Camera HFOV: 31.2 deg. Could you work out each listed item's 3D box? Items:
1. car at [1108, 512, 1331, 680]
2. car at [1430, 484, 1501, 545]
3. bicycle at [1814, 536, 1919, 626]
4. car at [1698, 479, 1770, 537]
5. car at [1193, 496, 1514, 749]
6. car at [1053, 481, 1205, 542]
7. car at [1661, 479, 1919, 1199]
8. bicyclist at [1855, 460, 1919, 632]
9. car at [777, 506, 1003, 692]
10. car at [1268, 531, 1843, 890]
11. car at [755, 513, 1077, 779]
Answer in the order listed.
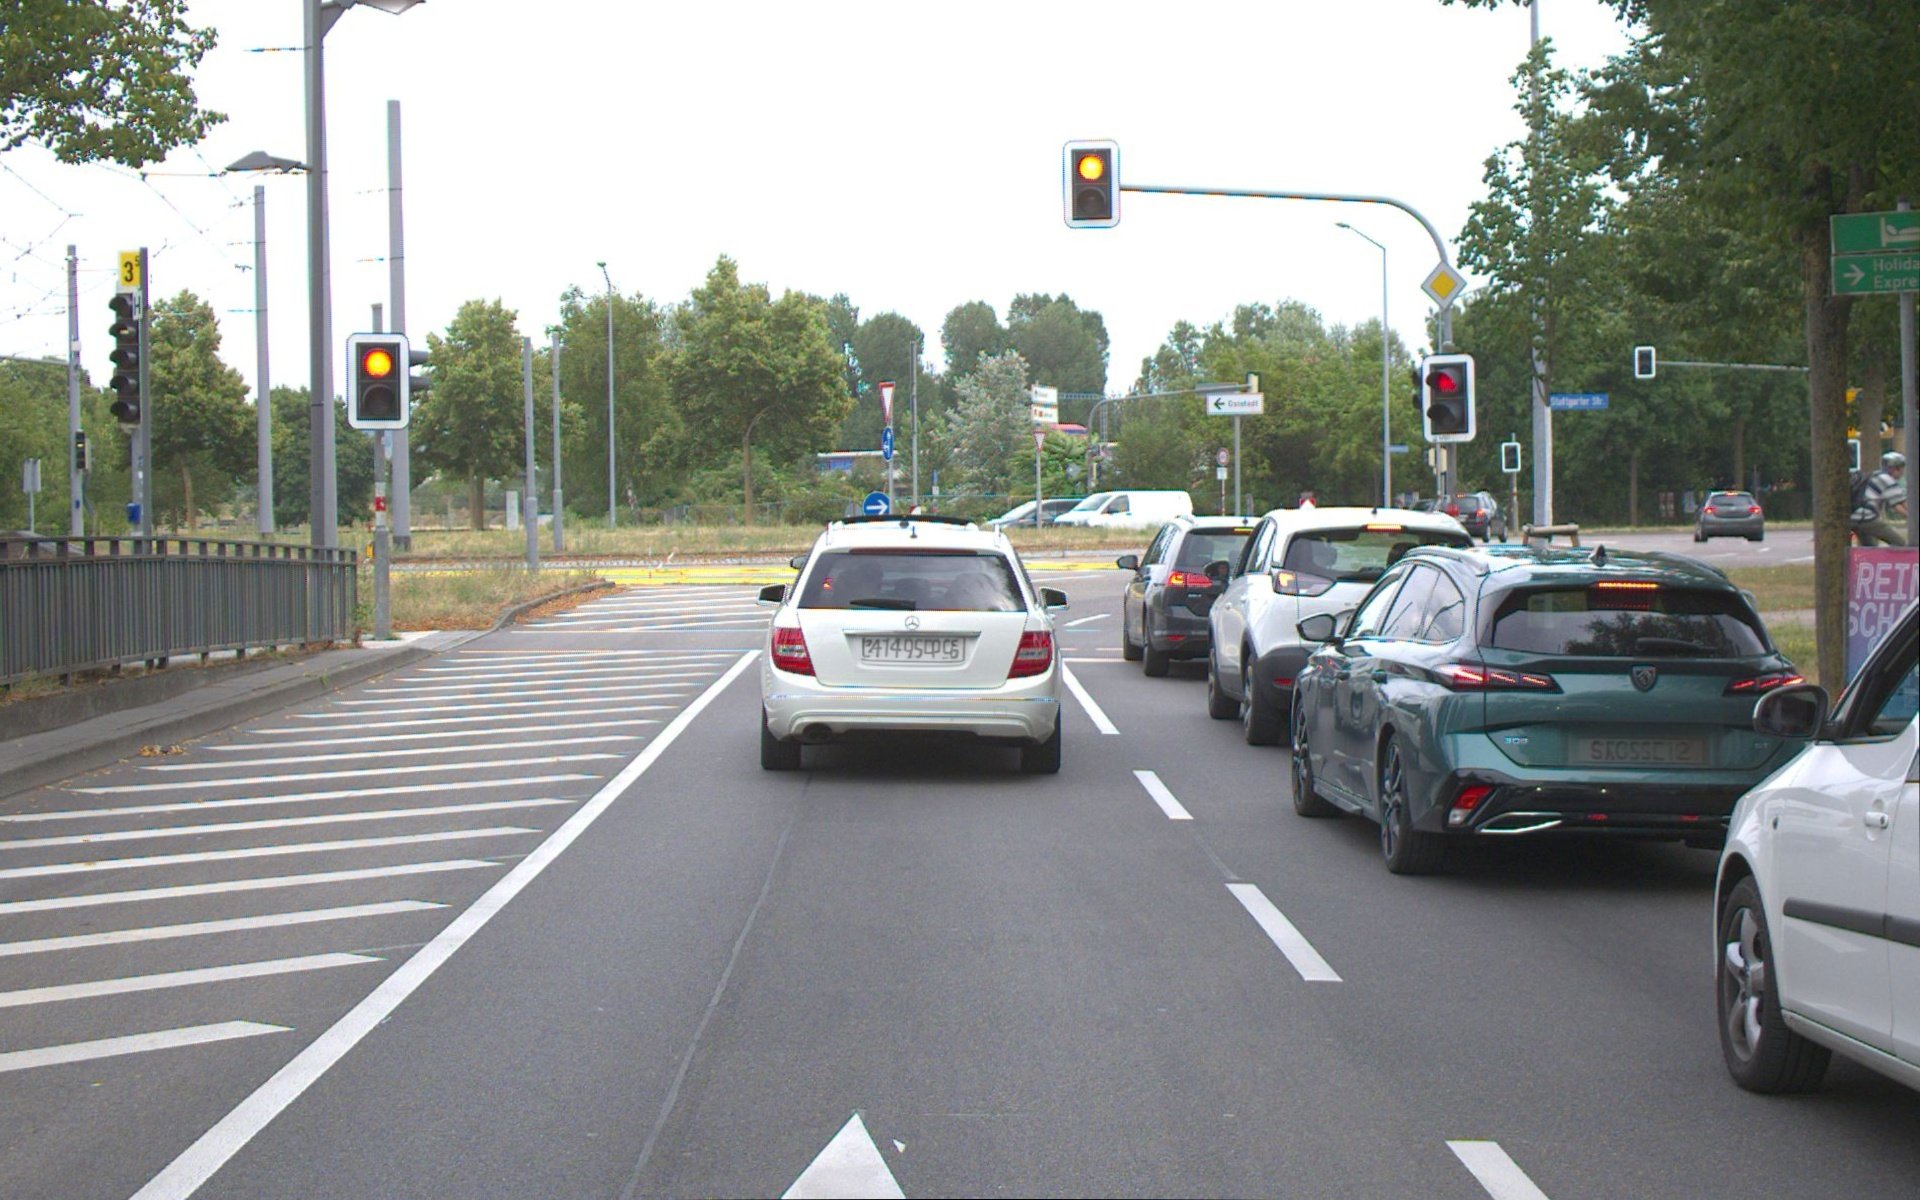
[{"bbox_3d":[2.363,-0.084,32.144,1.624,1.443,3.911,1,2,-2],"label":"car"},{"bbox_3d":[15.470,-2.606,105.417,1.994,1.784,3.999,2,1,7],"label":"car"},{"bbox_3d":[10.531,-0.214,38.233,1.933,0.980,0.565,0,2,-1],"label":"bicycle"},{"bbox_3d":[22.485,-2.681,100.001,1.784,1.630,4.400,0,2,9],"label":"car"},{"bbox_3d":[2.678,0.091,24.186,1.787,1.619,3.911,-1,2,0],"label":"car"},{"bbox_3d":[5.796,-3.045,117.777,4.984,2.006,2.000,-2,2,-33],"label":"car"},{"bbox_3d":[2.918,0.544,7.876,1.779,1.651,4.024,-1,2,0],"label":"car"},{"bbox_3d":[10.388,-0.606,38.125,0.728,1.879,0.734,0,2,-1],"label":"bicyclist"},{"bbox_3d":[-0.629,-0.060,29.246,1.773,1.443,3.911,1,2,-2],"label":"car"},{"bbox_3d":[2.629,0.408,16.199,1.787,1.427,4.311,0,2,-2],"label":"car"},{"bbox_3d":[-0.320,0.210,21.087,1.773,1.443,3.911,1,2,-2],"label":"car"}]
